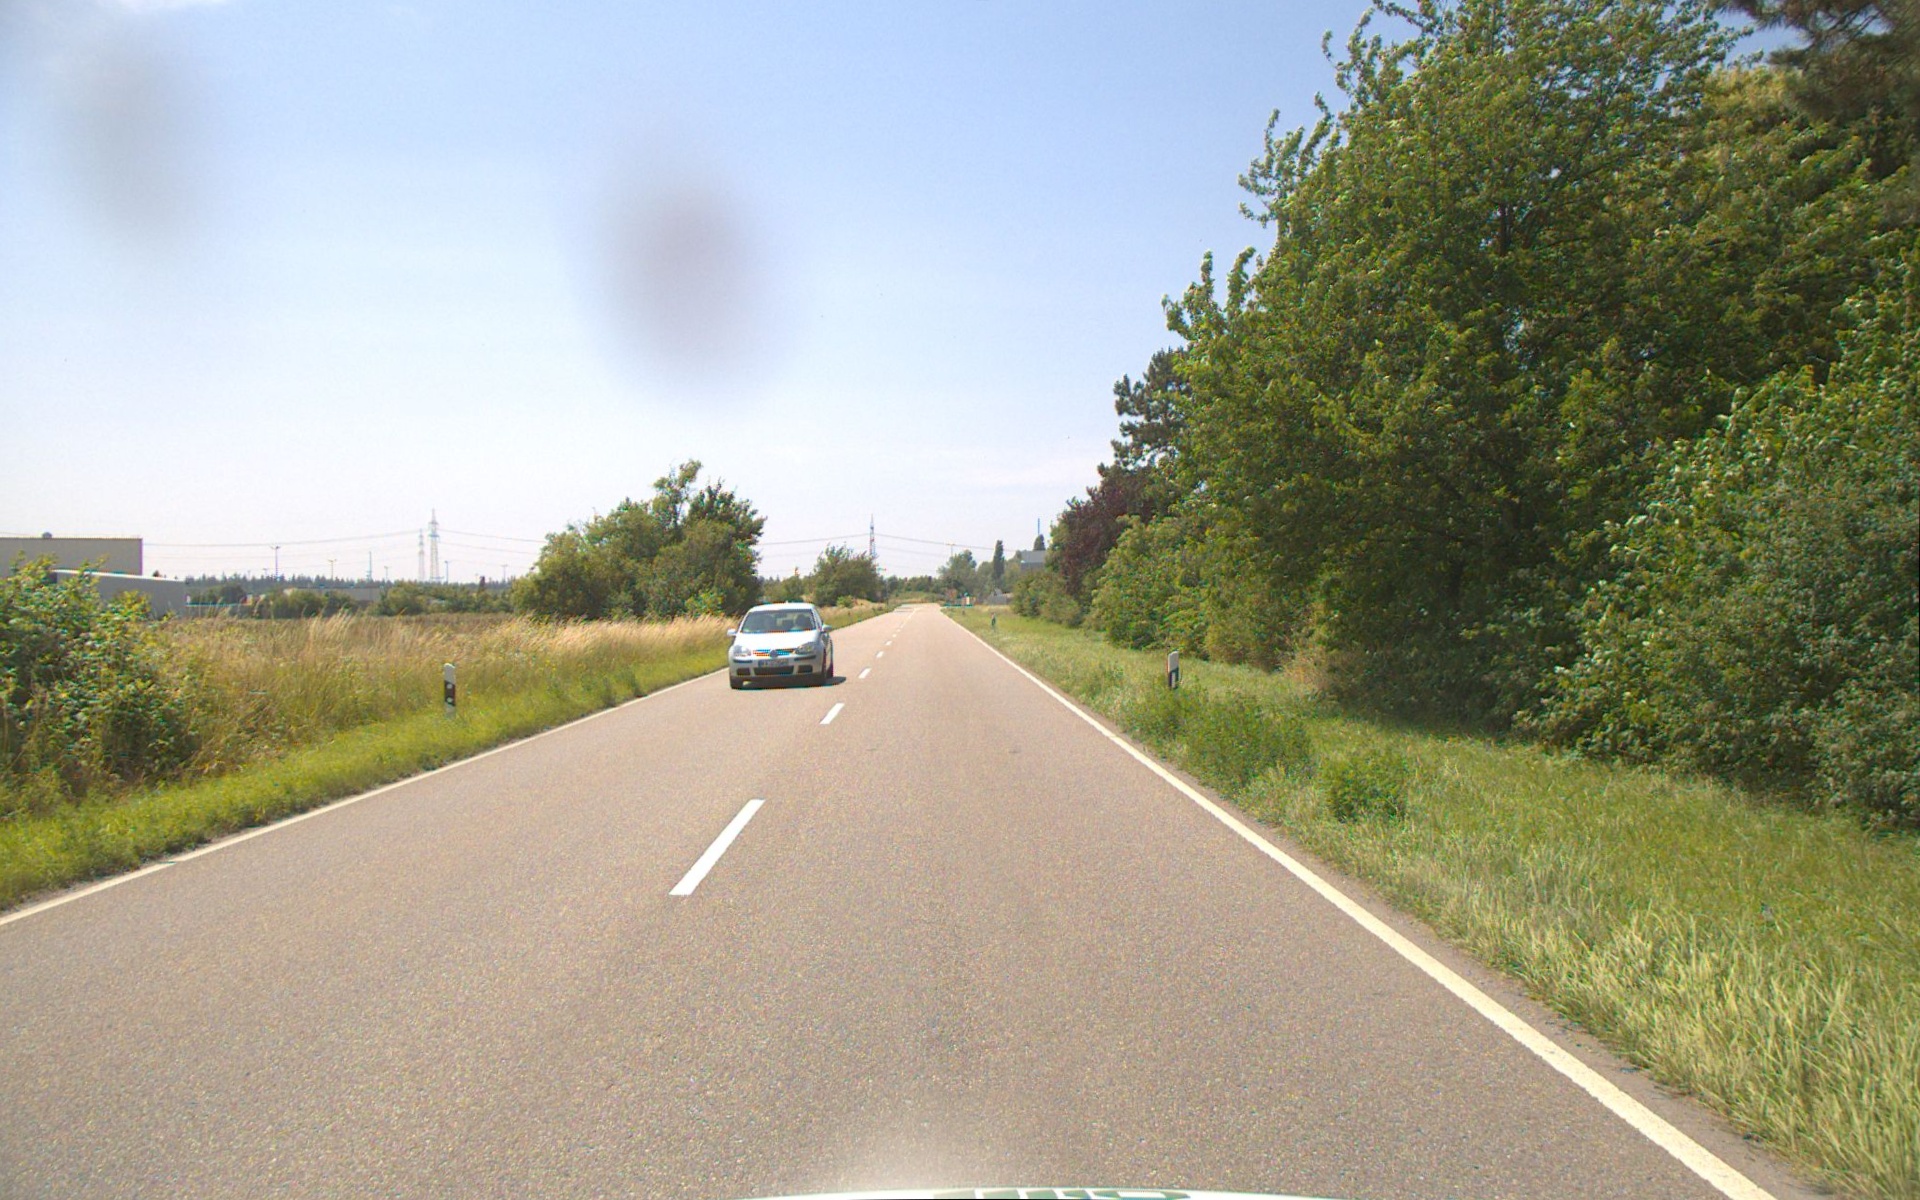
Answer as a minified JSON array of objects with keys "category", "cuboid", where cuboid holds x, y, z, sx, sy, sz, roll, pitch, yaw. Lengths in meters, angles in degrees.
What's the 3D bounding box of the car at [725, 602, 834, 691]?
[{"category":"car","cuboid":[-3.319,0.807,31.058,1.645,1.445,4.420,-3,0,-2]}]
